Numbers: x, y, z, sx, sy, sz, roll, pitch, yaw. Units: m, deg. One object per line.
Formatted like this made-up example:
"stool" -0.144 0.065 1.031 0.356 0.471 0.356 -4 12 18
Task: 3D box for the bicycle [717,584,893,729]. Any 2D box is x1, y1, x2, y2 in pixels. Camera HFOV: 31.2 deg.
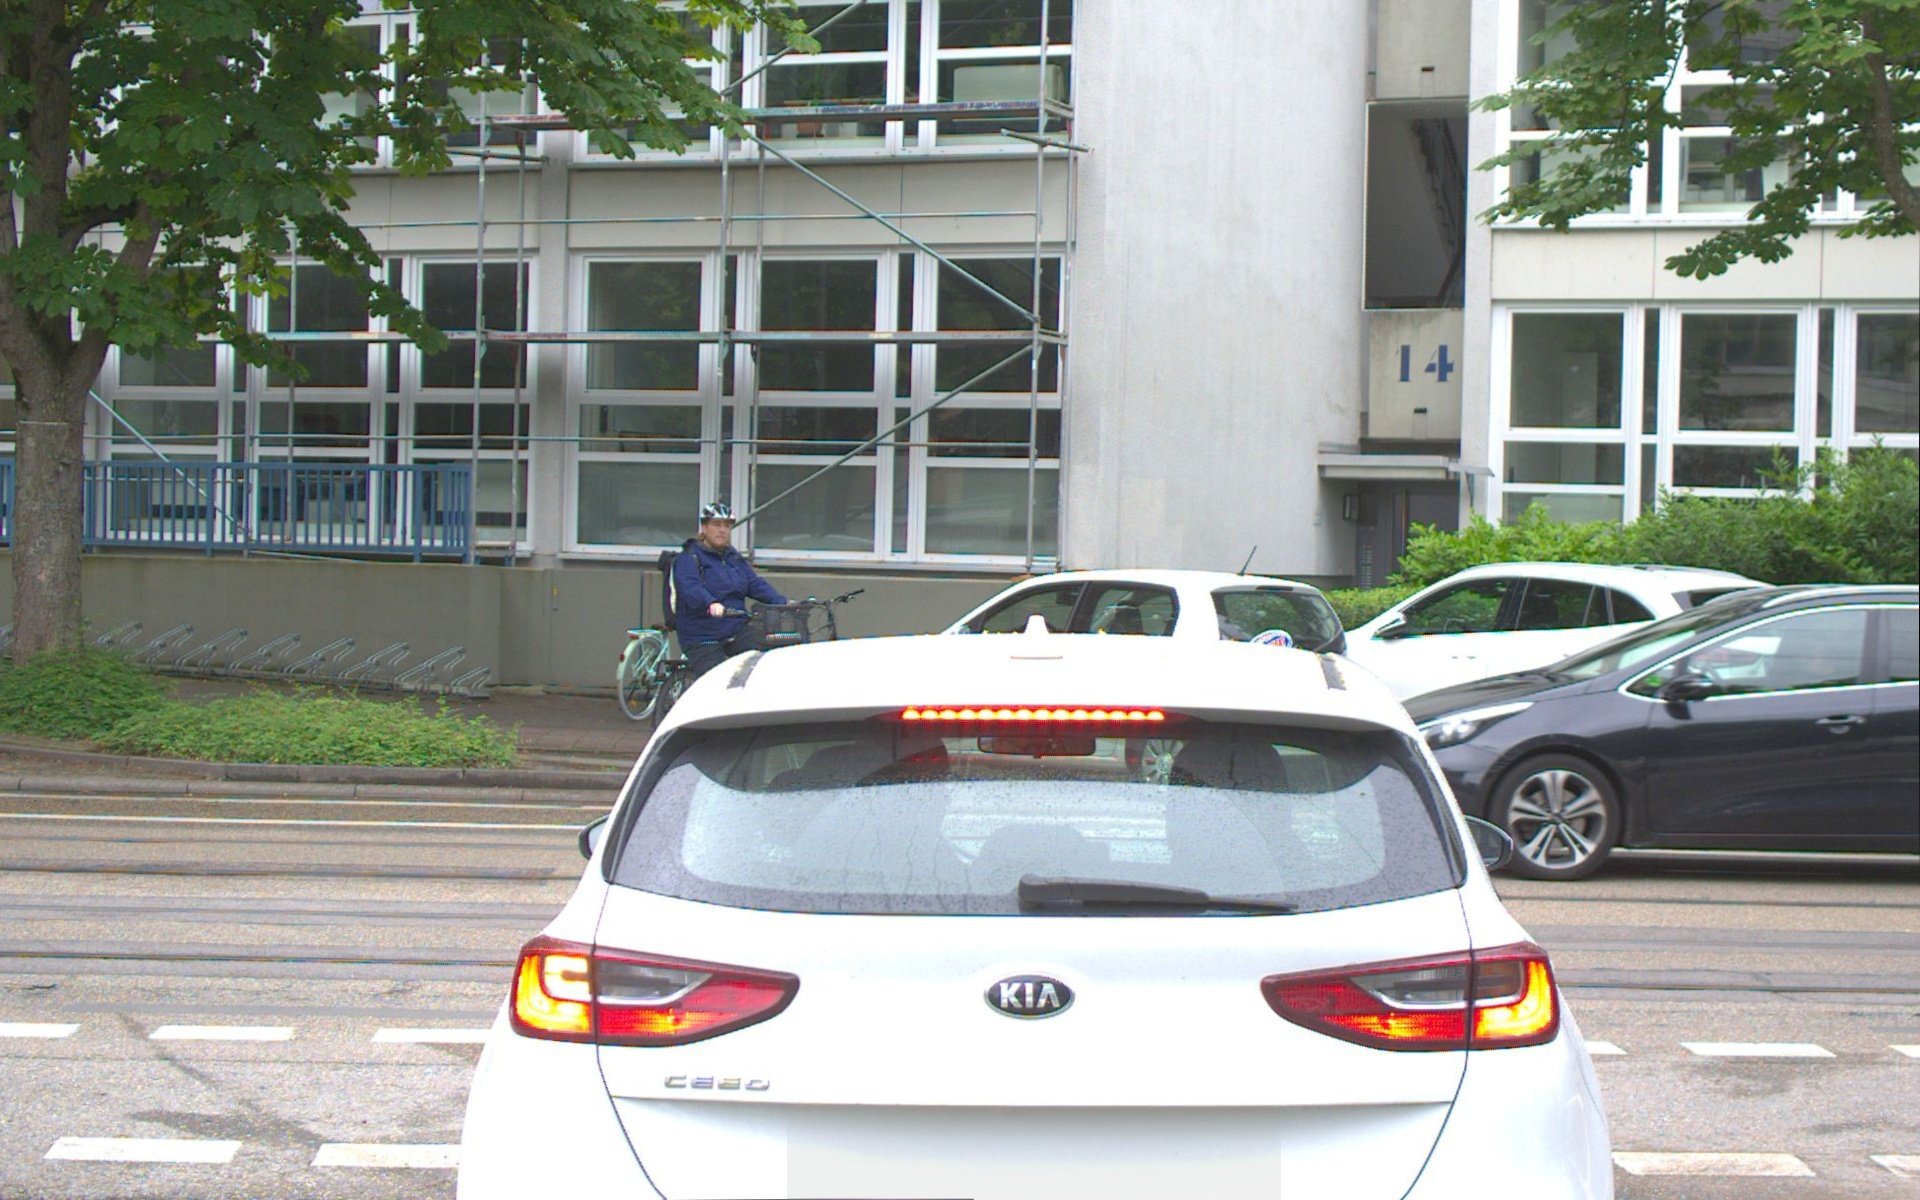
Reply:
"bicycle" -1.293 0.452 29.203 0.645 1.071 2.310 2 3 20

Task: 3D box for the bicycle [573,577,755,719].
"bicycle" -2.532 0.387 29.690 0.645 1.071 2.310 2 3 20

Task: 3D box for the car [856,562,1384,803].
"car" 1.026 0.501 23.193 1.552 1.468 3.406 0 1 -44

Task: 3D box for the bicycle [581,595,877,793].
"bicycle" -1.510 0.582 22.246 1.914 1.170 0.819 2 1 45

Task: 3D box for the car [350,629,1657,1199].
"car" 0.141 0.812 6.669 1.775 1.428 3.978 1 -1 3

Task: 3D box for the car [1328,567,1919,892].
"car" 4.125 0.628 17.334 4.240 1.485 1.824 1 1 -3

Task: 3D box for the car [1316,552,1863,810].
"car" 4.268 0.498 23.613 1.552 1.612 3.406 0 1 -44

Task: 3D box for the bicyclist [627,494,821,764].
"bicyclist" -1.530 0.176 22.284 0.896 1.692 0.832 2 1 45
